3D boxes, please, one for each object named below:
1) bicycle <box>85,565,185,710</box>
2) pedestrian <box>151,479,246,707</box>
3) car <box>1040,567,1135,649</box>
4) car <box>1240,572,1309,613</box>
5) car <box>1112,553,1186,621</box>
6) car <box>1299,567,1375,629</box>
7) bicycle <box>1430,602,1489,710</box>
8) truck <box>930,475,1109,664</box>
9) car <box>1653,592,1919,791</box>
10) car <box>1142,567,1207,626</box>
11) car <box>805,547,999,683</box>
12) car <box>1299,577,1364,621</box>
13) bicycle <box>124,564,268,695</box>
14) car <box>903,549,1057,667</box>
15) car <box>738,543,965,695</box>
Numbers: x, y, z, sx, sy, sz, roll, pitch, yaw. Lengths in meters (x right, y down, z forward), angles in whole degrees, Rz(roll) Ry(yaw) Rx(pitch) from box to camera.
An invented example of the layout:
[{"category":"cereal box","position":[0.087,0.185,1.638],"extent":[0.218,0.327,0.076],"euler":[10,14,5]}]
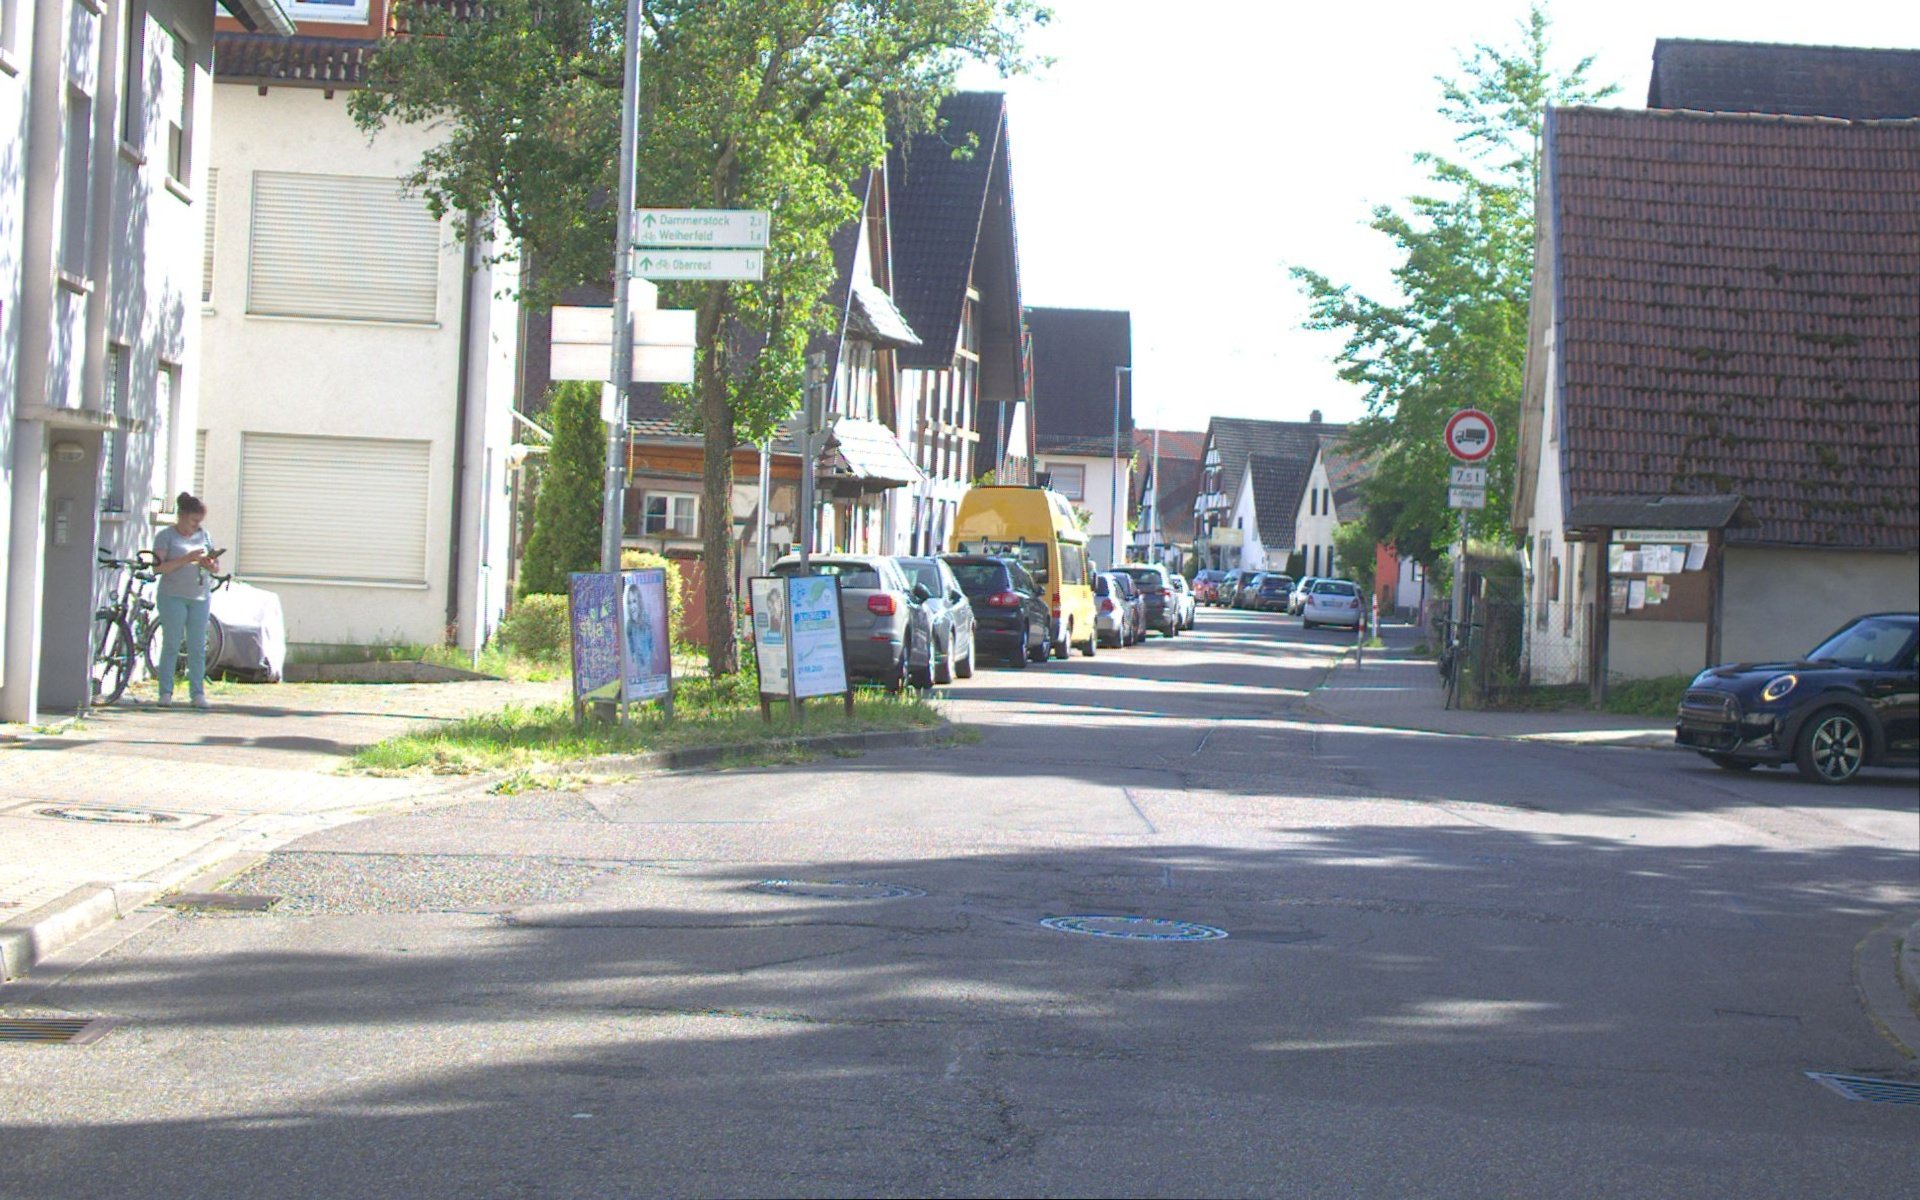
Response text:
[{"category":"bicycle","position":[-6.204,0.278,25.897],"extent":[0.423,1.049,1.381],"euler":[3,0,-2]},{"category":"pedestrian","position":[-5.768,-0.050,26.069],"extent":[0.483,1.687,0.557],"euler":[3,-1,2]},{"category":"car","position":[2.466,0.128,65.727],"extent":[1.645,1.428,3.614],"euler":[3,1,4]},{"category":"car","position":[13.303,-0.323,145.503],"extent":[1.973,1.577,3.996],"euler":[3,1,-8]},{"category":"car","position":[4.346,-0.311,78.886],"extent":[1.588,1.438,3.614],"euler":[3,1,4]},{"category":"car","position":[11.243,-0.085,102.800],"extent":[1.973,1.708,3.994],"euler":[3,1,4]},{"category":"bicycle","position":[5.716,0.626,39.299],"extent":[0.433,1.172,1.827],"euler":[3,1,14]},{"category":"truck","position":[1.054,-0.477,56.726],"extent":[2.269,2.858,5.781],"euler":[3,0,7]},{"category":"car","position":[8.012,0.802,28.613],"extent":[3.985,1.472,1.666],"euler":[3,1,-14]},{"category":"car","position":[5.663,-0.108,90.737],"extent":[1.588,1.438,3.614],"euler":[3,1,4]},{"category":"car","position":[-0.658,0.177,42.392],"extent":[1.807,1.500,4.106],"euler":[3,0,7]},{"category":"car","position":[14.471,-0.054,133.980],"extent":[1.973,1.577,3.995],"euler":[3,1,-1]},{"category":"bicycle","position":[-6.490,0.251,29.305],"extent":[0.578,1.049,2.035],"euler":[2,0,5]},{"category":"car","position":[0.339,0.116,51.269],"extent":[1.807,1.616,3.880],"euler":[3,0,7]},{"category":"car","position":[-1.139,0.203,38.027],"extent":[1.868,1.500,4.106],"euler":[3,0,7]}]
